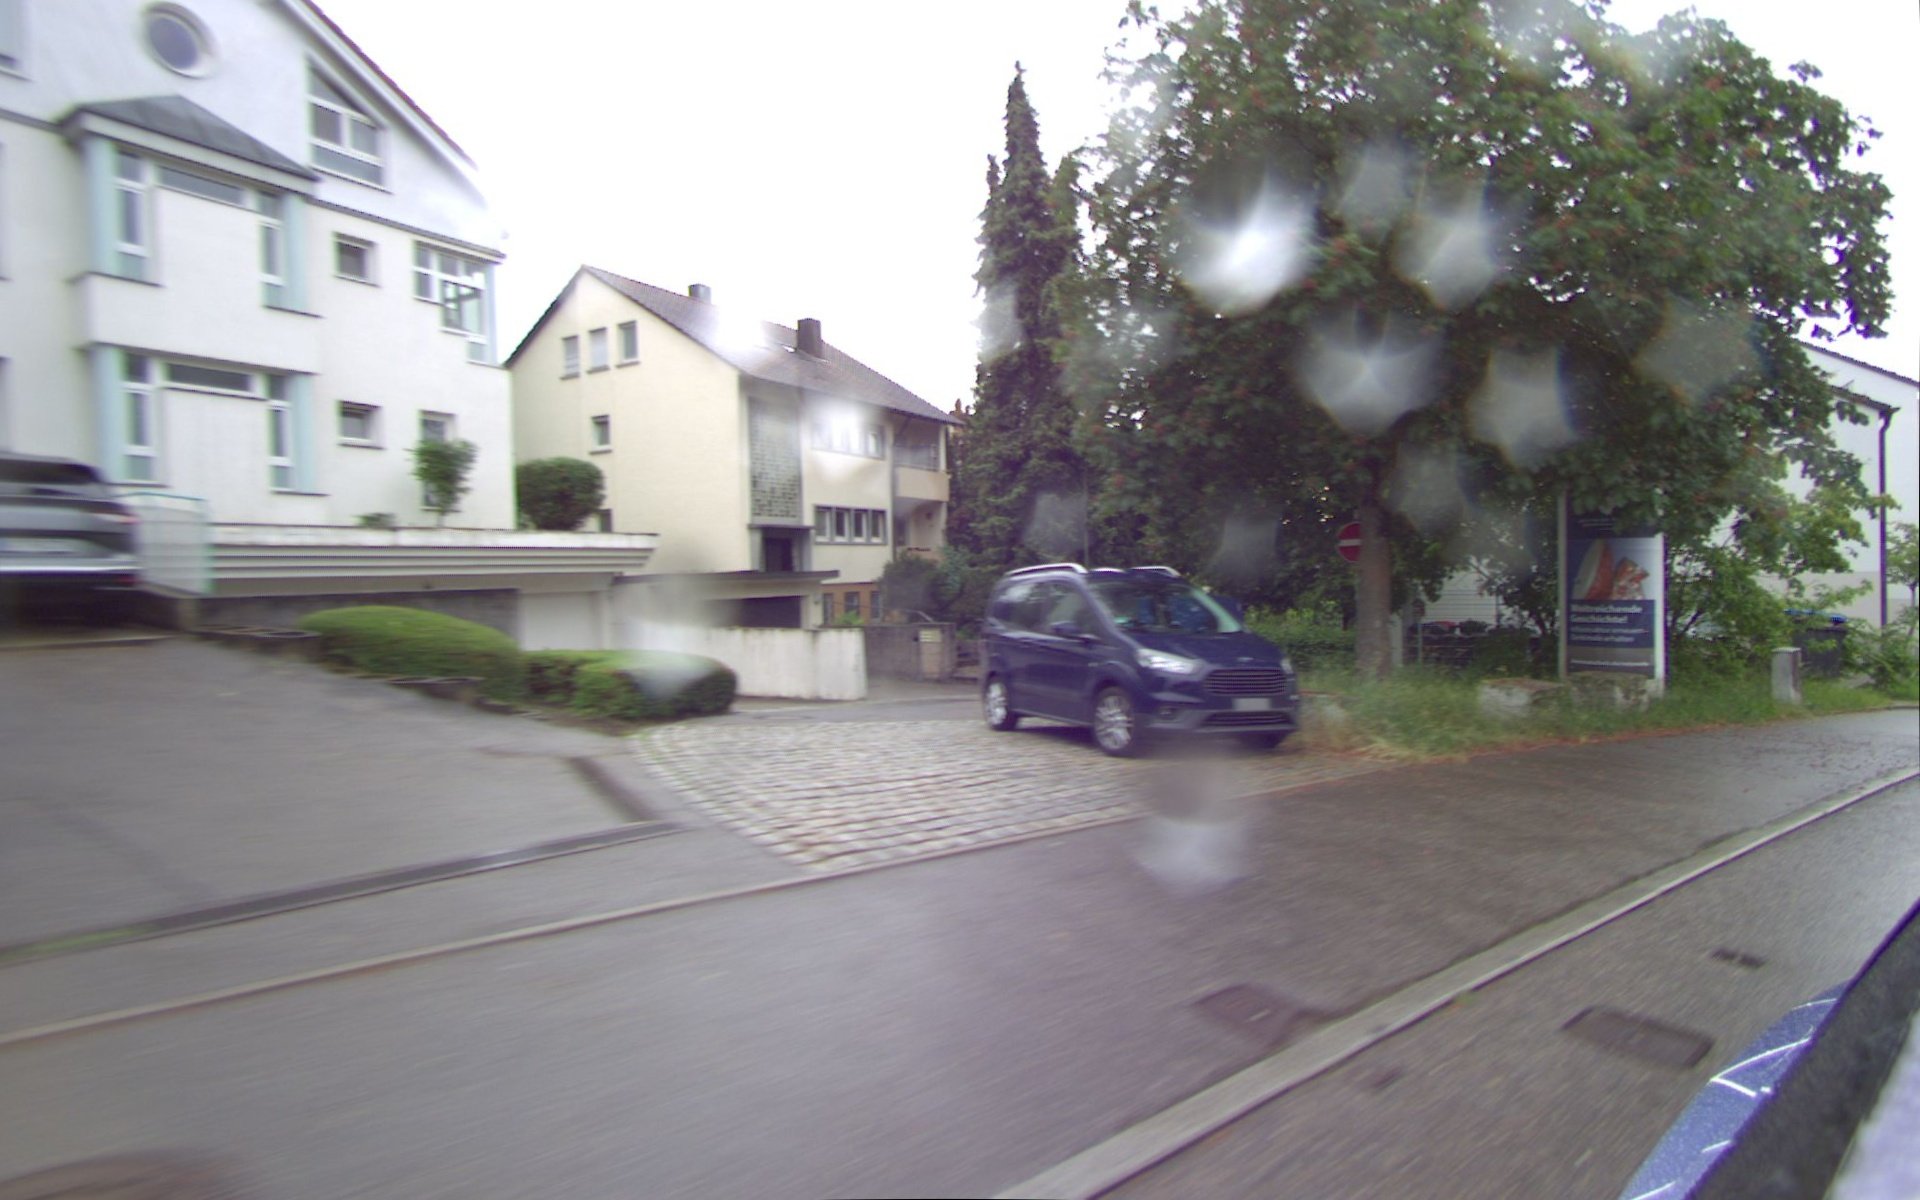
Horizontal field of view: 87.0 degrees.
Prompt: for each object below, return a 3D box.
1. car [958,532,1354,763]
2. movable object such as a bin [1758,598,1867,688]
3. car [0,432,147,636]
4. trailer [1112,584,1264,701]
[{"bbox_3d":[1.587,0.419,9.949,1.692,1.738,4.352,0,-2,-22],"label":"car"},{"bbox_3d":[15.447,0.761,18.388,1.230,1.516,0.975,2,0,23],"label":"movable object such as a bin"},{"bbox_3d":[-9.480,-0.638,9.479,4.249,1.653,1.708,3,3,33],"label":"car"},{"bbox_3d":[4.103,0.717,17.852,1.750,1.846,3.246,0,-2,30],"label":"trailer"}]
